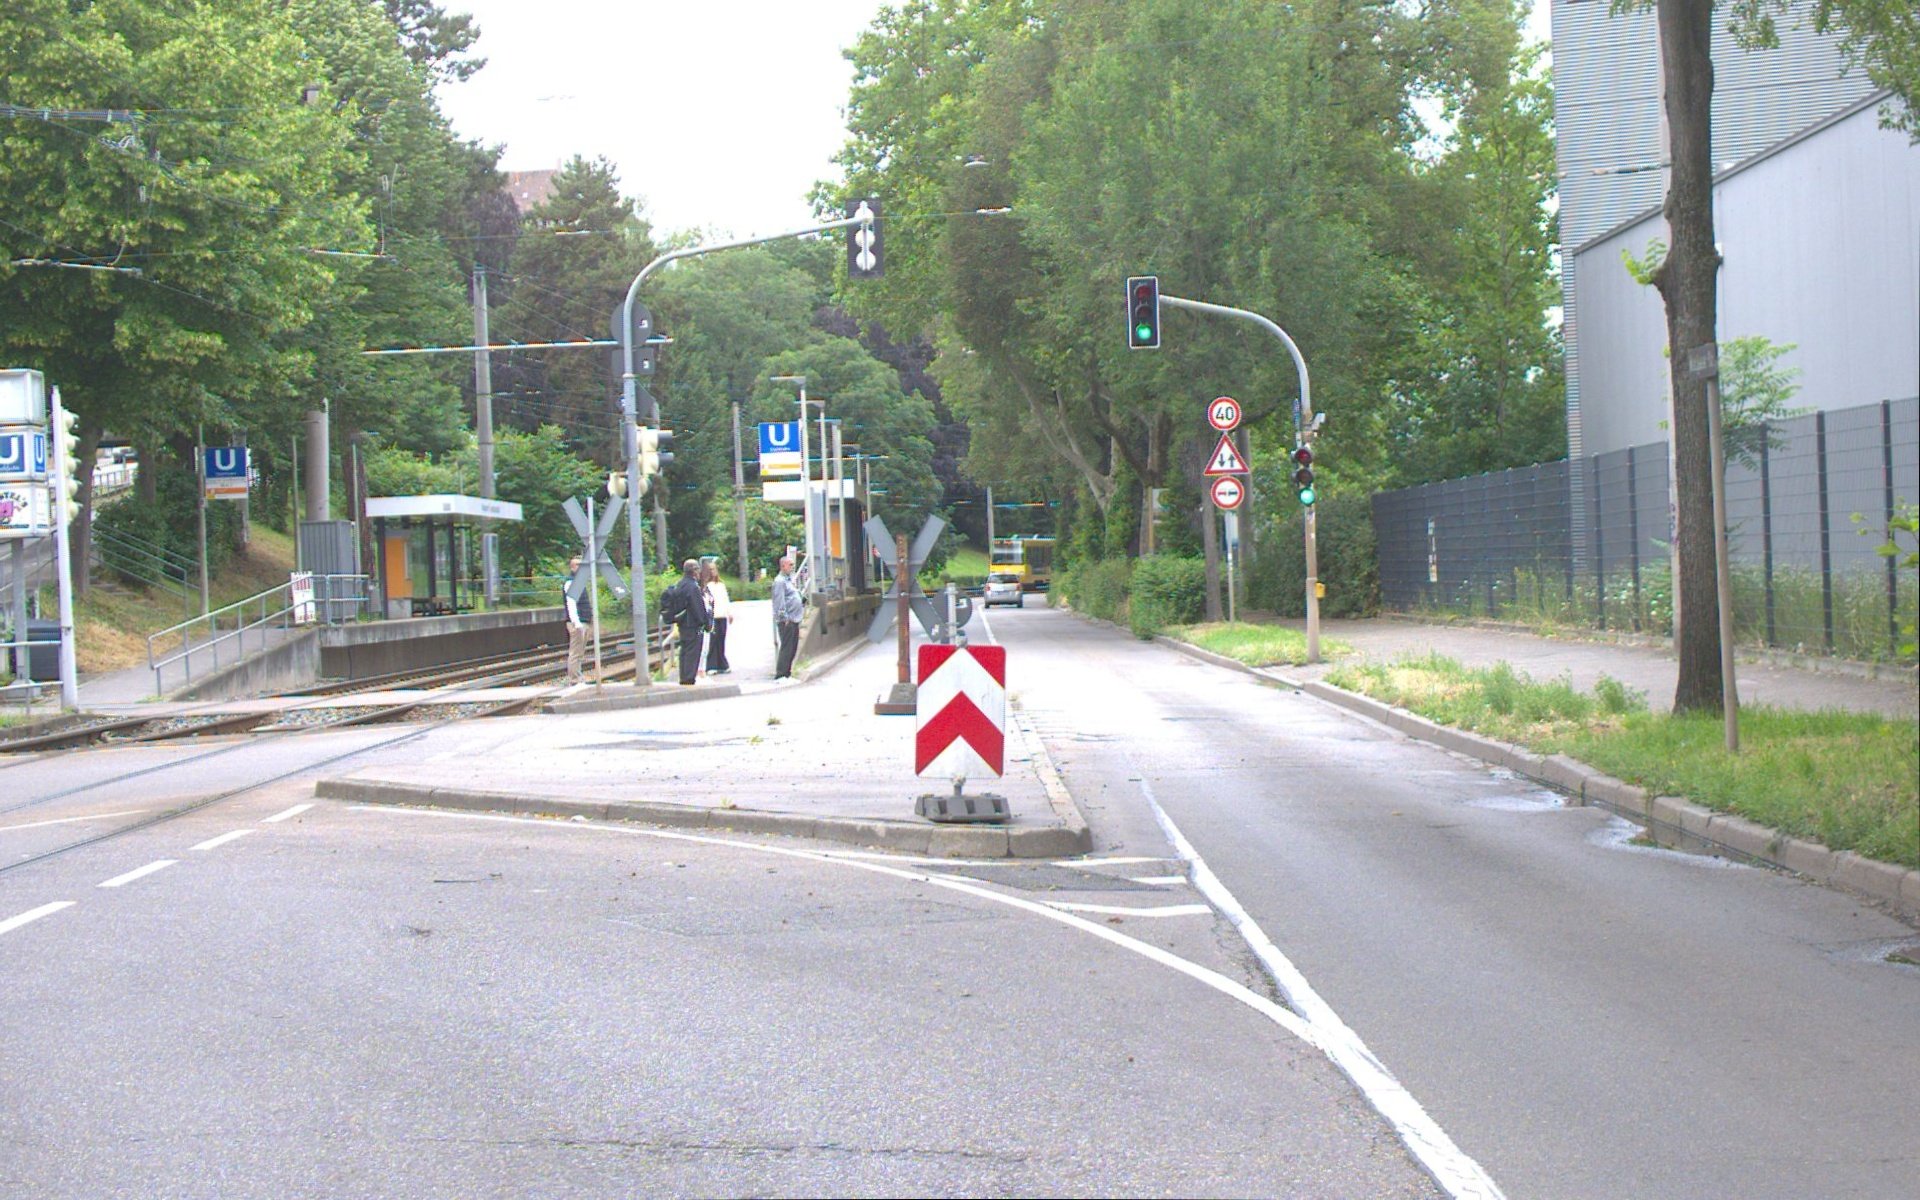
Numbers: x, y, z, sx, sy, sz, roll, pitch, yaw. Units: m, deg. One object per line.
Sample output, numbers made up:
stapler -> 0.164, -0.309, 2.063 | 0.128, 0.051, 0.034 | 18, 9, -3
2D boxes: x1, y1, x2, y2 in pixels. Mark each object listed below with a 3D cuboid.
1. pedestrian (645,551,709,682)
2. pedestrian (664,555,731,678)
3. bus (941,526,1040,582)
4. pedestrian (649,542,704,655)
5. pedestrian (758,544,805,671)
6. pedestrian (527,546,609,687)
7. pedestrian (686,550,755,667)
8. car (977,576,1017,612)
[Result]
pedestrian -> -3.631, 0.212, 44.135 | 0.735, 1.659, 0.682 | 1, 0, 2
pedestrian -> -3.565, 0.218, 46.732 | 0.680, 1.659, 0.737 | 1, 0, 15
bus -> 2.049, -3.011, 226.594 | 2.738, 3.614, 8.928 | 1, 0, 28
pedestrian -> -4.208, -0.026, 50.940 | 0.735, 1.659, 0.682 | 1, 0, -10
pedestrian -> -2.485, 0.097, 47.921 | 0.550, 1.752, 0.737 | 1, 0, 4
pedestrian -> -5.079, 0.210, 44.572 | 0.670, 1.815, 0.803 | 1, 0, 41
pedestrian -> -3.443, 0.119, 49.459 | 0.680, 1.659, 0.736 | 1, 0, 28
car -> 1.666, -0.283, 156.850 | 1.743, 1.593, 4.000 | 1, 0, 0
